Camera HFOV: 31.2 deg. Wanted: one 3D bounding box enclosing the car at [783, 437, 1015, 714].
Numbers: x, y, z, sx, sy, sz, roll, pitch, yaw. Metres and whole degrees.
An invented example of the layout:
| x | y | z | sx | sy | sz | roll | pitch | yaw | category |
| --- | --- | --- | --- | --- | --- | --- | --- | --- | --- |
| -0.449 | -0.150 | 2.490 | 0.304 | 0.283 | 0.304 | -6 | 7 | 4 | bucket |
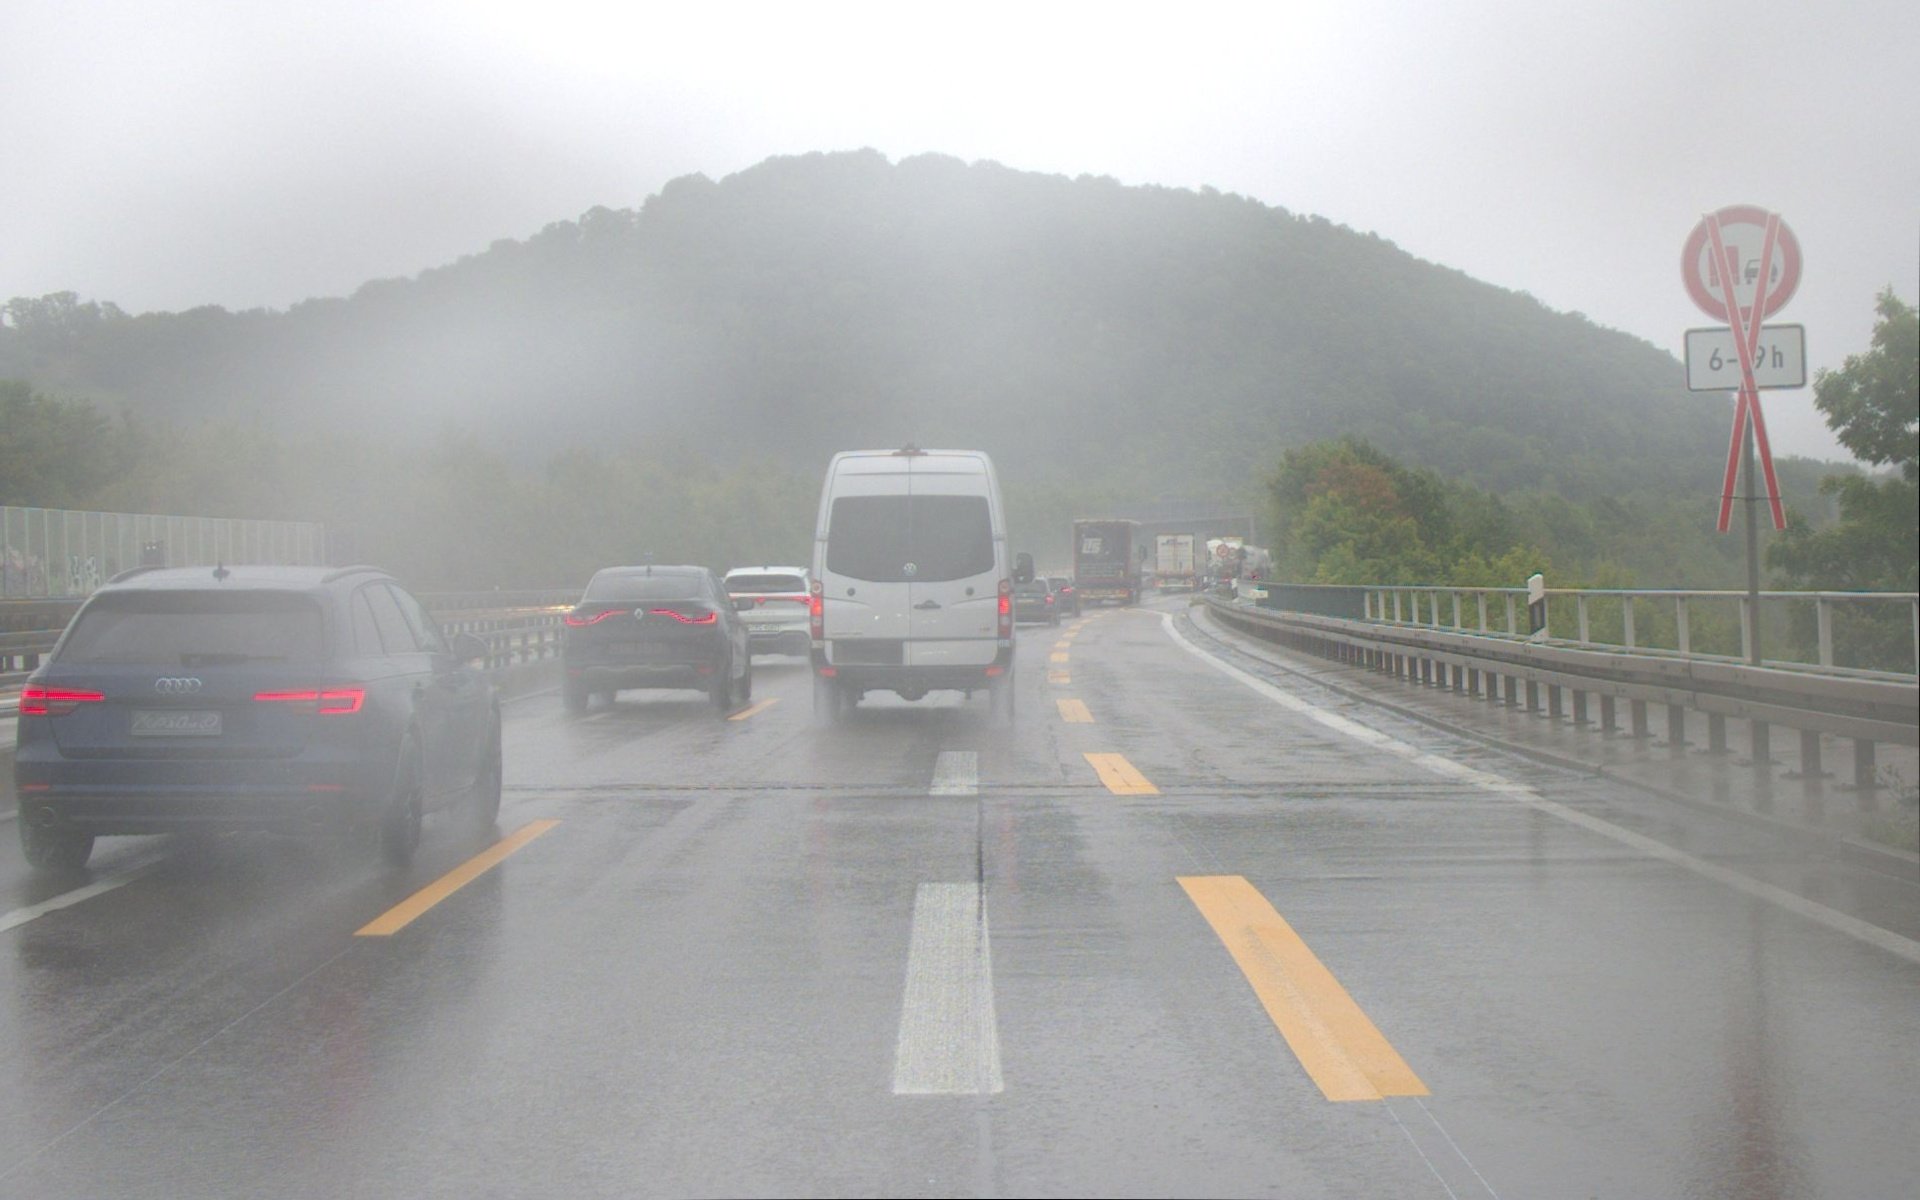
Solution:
| x | y | z | sx | sy | sz | roll | pitch | yaw | category |
| --- | --- | --- | --- | --- | --- | --- | --- | --- | --- |
| -0.585 | -0.232 | 34.945 | 2.145 | 2.562 | 5.390 | 1 | 0 | 0 | car |

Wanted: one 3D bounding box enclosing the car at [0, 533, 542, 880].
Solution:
| x | y | z | sx | sy | sz | roll | pitch | yaw | category |
| --- | --- | --- | --- | --- | --- | --- | --- | --- | --- |
| -3.355 | 0.459 | 17.314 | 1.993 | 1.492 | 4.631 | 1 | 0 | -1 | car |

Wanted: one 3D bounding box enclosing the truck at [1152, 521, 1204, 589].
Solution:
| x | y | z | sx | sy | sz | roll | pitch | yaw | category |
| --- | --- | --- | --- | --- | --- | --- | --- | --- | --- |
| 14.788 | -3.006 | 232.993 | 3.037 | 4.391 | 9.621 | 1 | 0 | 6 | truck |

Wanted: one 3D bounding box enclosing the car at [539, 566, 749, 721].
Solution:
| x | y | z | sx | sy | sz | roll | pitch | yaw | category |
| --- | --- | --- | --- | --- | --- | --- | --- | --- | --- |
| -3.426 | 0.451 | 38.010 | 1.993 | 1.579 | 4.414 | 1 | 0 | -1 | car |

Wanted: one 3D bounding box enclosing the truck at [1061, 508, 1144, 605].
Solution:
| x | y | z | sx | sy | sz | roll | pitch | yaw | category |
| --- | --- | --- | --- | --- | --- | --- | --- | --- | --- |
| 6.760 | -1.974 | 161.532 | 3.582 | 4.391 | 9.622 | 1 | 0 | 4 | truck |

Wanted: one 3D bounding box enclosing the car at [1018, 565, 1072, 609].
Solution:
| x | y | z | sx | sy | sz | roll | pitch | yaw | category |
| --- | --- | --- | --- | --- | --- | --- | --- | --- | --- |
| 2.944 | -0.433 | 118.496 | 1.774 | 1.470 | 4.000 | 1 | 0 | 3 | car |

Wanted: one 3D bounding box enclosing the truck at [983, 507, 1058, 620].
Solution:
| x | y | z | sx | sy | sz | roll | pitch | yaw | category |
| --- | --- | --- | --- | --- | --- | --- | --- | --- | --- |
| 1.698 | -1.015 | 99.222 | 1.993 | 3.098 | 8.498 | 1 | 0 | 0 | truck |

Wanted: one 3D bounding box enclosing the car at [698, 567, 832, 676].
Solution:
| x | y | z | sx | sy | sz | roll | pitch | yaw | category |
| --- | --- | --- | --- | --- | --- | --- | --- | --- | --- |
| -3.079 | 0.317 | 54.266 | 1.993 | 1.612 | 4.797 | 1 | 0 | -3 | car |
